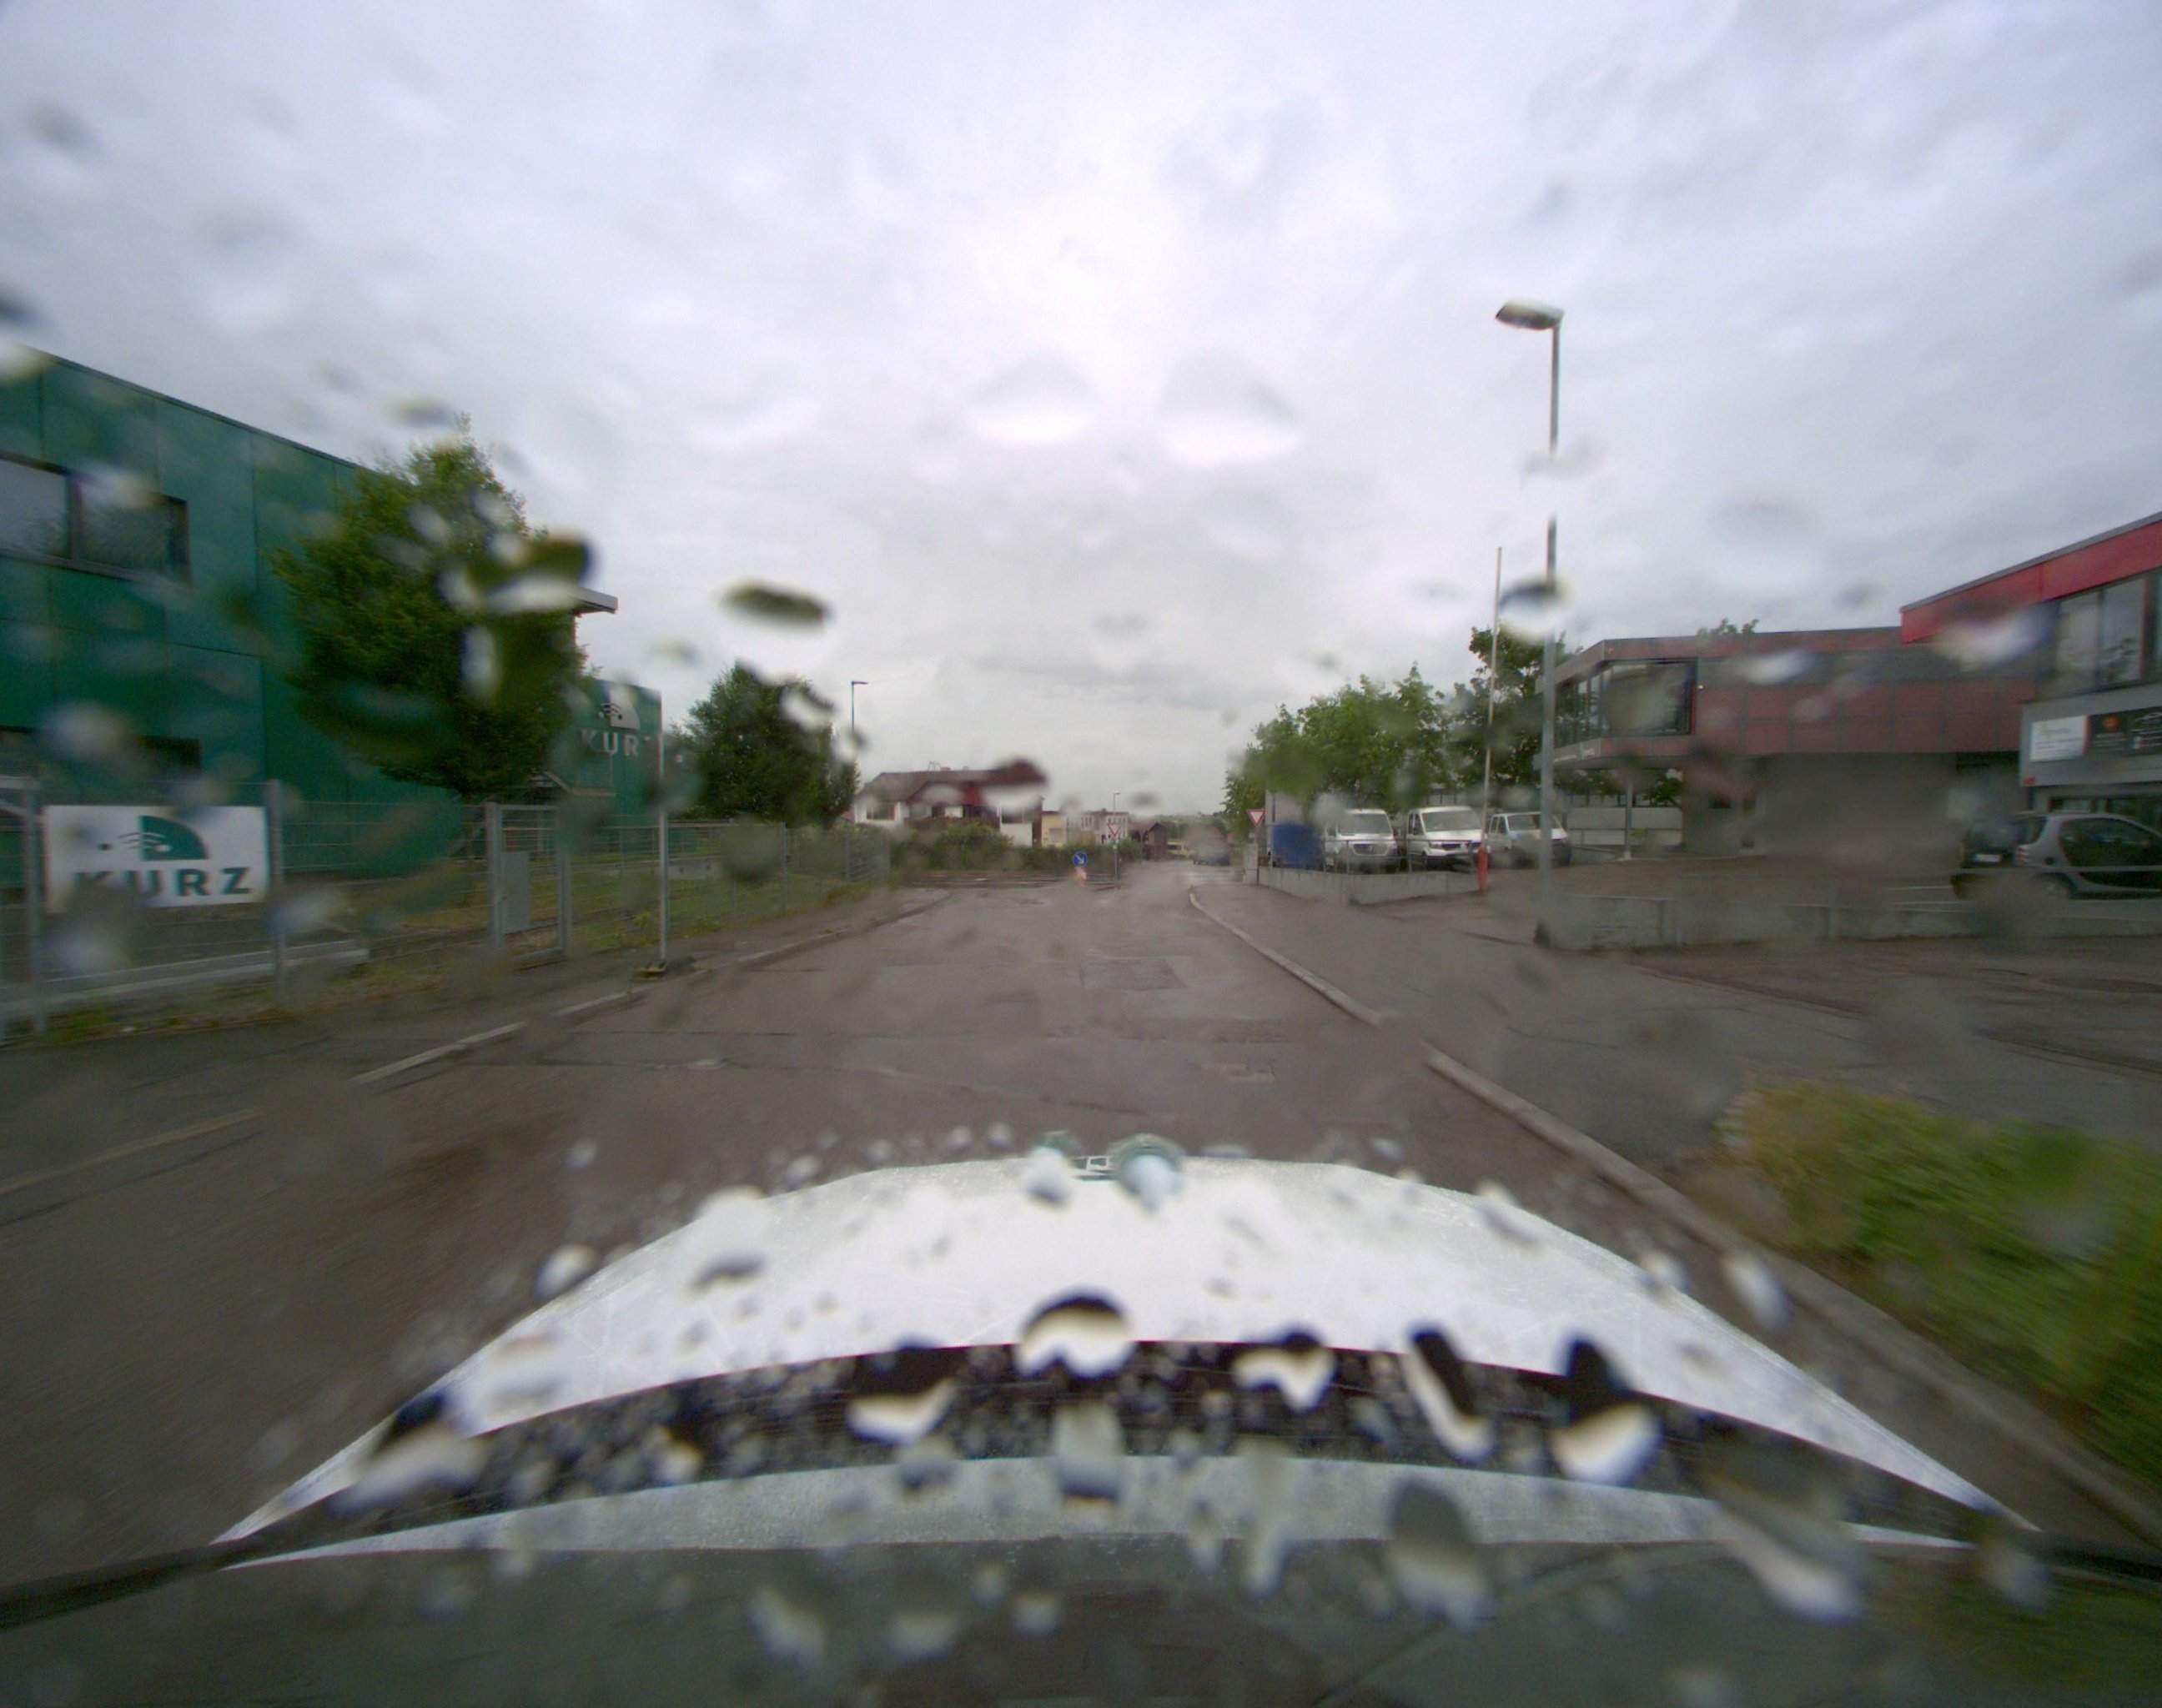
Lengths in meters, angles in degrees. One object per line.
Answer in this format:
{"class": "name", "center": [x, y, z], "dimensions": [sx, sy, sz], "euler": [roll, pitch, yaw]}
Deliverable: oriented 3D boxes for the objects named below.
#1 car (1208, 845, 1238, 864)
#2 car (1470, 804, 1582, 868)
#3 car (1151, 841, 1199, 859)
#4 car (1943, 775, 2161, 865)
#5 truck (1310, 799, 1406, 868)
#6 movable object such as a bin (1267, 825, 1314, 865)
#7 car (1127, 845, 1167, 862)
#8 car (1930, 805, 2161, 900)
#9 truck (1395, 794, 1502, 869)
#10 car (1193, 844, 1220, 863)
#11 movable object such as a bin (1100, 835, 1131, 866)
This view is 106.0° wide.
{"class": "car", "center": [13.021, 0.041, 75.114], "dimensions": [1.946, 1.610, 4.445], "euler": [-1, 0, -1]}
{"class": "car", "center": [15.507, -0.580, 28.705], "dimensions": [2.043, 2.013, 4.954], "euler": [-1, 0, 11]}
{"class": "car", "center": [12.723, -0.556, 110.568], "dimensions": [5.954, 2.415, 2.477], "euler": [-1, 0, 25]}
{"class": "car", "center": [22.691, -0.790, 18.479], "dimensions": [3.894, 1.737, 1.867], "euler": [-3, 3, 16]}
{"class": "truck", "center": [9.697, -0.660, 29.002], "dimensions": [2.094, 2.214, 5.664], "euler": [-1, 0, 7]}
{"class": "movable object such as a bin", "center": [8.139, -0.353, 31.739], "dimensions": [1.303, 1.500, 1.857], "euler": [-1, 0, -2]}
{"class": "car", "center": [7.522, -0.097, 93.607], "dimensions": [2.011, 1.905, 4.356], "euler": [0, 0, -43]}
{"class": "car", "center": [16.348, -0.024, 13.469], "dimensions": [2.692, 1.446, 1.685], "euler": [-1, 0, 15]}
{"class": "truck", "center": [12.564, -0.705, 28.219], "dimensions": [2.229, 2.342, 4.850], "euler": [-1, 0, 10]}
{"class": "car", "center": [12.494, -0.008, 81.381], "dimensions": [2.067, 1.835, 4.470], "euler": [-1, 0, 1]}
{"class": "movable object such as a bin", "center": [3.021, -0.277, 70.432], "dimensions": [1.718, 2.556, 3.356], "euler": [-1, 0, 19]}
